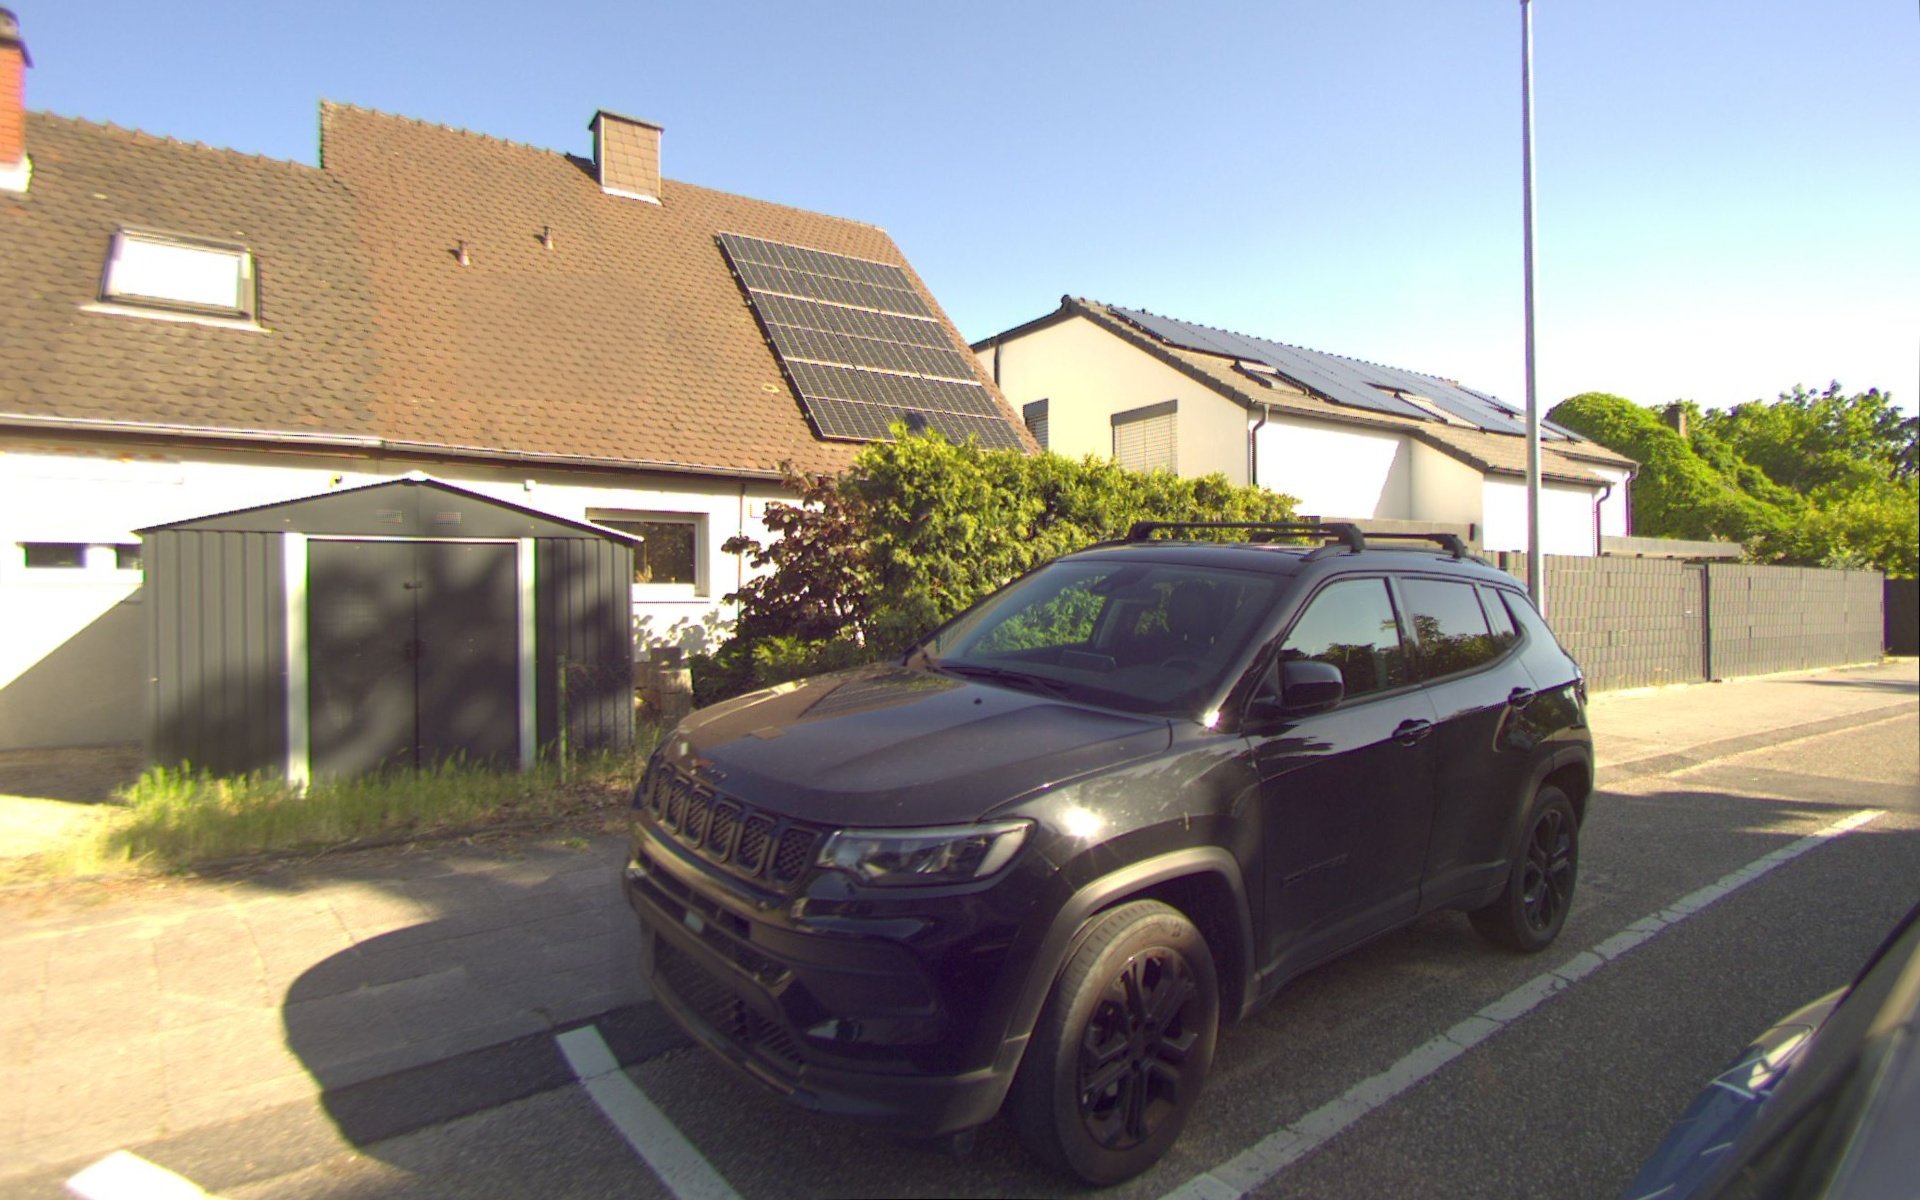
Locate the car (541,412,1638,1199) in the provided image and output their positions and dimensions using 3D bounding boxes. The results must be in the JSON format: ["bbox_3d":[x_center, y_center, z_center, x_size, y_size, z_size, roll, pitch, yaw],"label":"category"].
[{"bbox_3d":[0.839,0.478,3.903,4.217,1.745,1.782,-1,1,-39],"label":"car"}]
